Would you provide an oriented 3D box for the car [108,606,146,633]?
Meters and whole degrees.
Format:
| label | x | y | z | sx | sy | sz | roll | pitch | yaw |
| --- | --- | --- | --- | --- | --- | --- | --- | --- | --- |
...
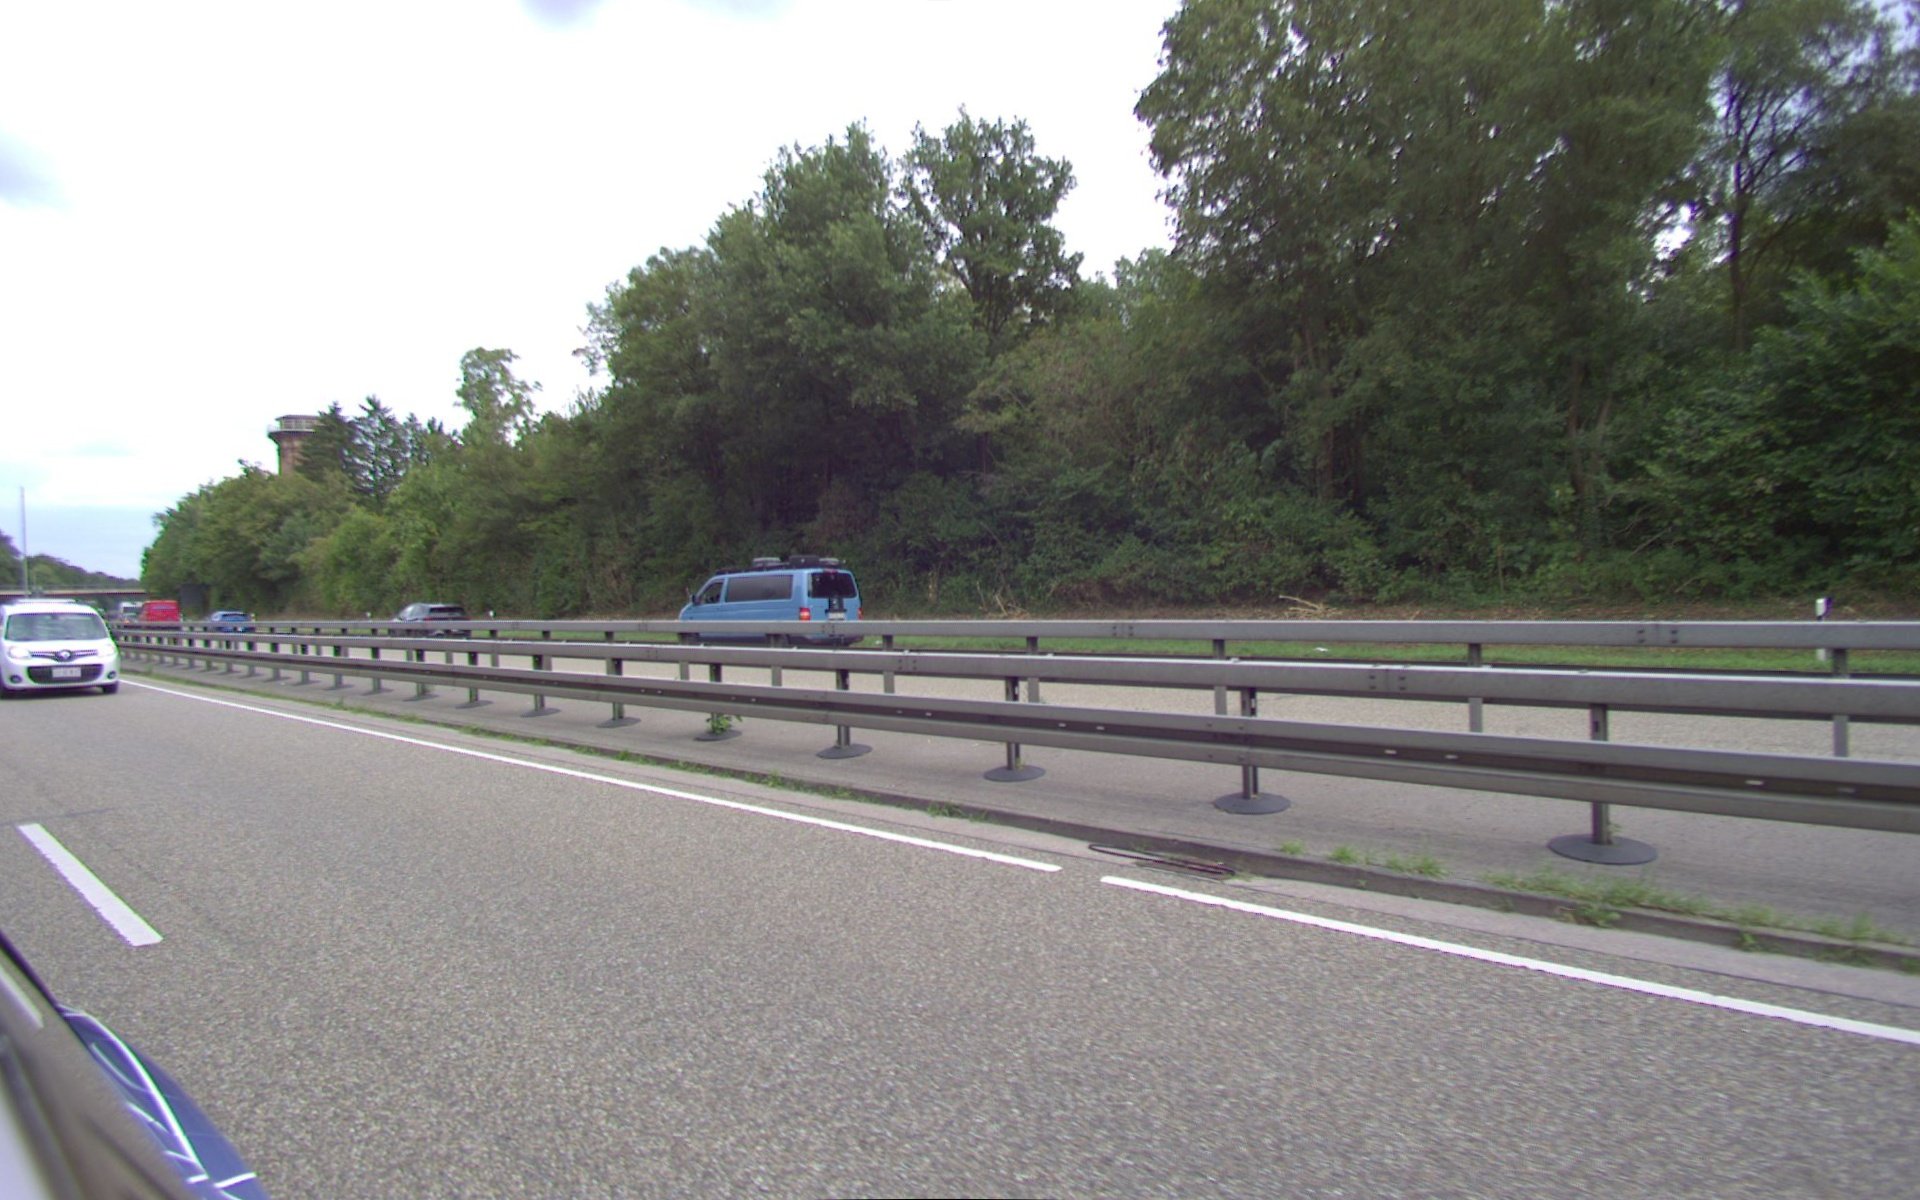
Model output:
| label | x | y | z | sx | sy | sz | roll | pitch | yaw |
| --- | --- | --- | --- | --- | --- | --- | --- | --- | --- |
| car | -83.280 | 1.966 | 101.152 | 5.553 | 2.631 | 2.286 | -1 | -1 | 43 |

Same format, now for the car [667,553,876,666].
| label | x | y | z | sx | sy | sz | roll | pitch | yaw |
| --- | --- | --- | --- | --- | --- | --- | --- | --- | --- |
| car | -4.460 | 0.246 | 23.389 | 5.303 | 2.339 | 1.915 | -1 | -1 | 42 |

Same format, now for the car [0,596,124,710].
| label | x | y | z | sx | sy | sz | roll | pitch | yaw |
| --- | --- | --- | --- | --- | --- | --- | --- | --- | --- |
| car | -18.205 | 0.982 | 20.115 | 4.422 | 2.020 | 1.798 | -1 | -1 | 42 |

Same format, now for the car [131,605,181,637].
| label | x | y | z | sx | sy | sz | roll | pitch | yaw |
| --- | --- | --- | --- | --- | --- | --- | --- | --- | --- |
| car | -59.992 | 1.576 | 75.498 | 5.373 | 2.273 | 2.044 | -1 | -1 | 42 |

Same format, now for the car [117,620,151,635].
| label | x | y | z | sx | sy | sz | roll | pitch | yaw |
| --- | --- | --- | --- | --- | --- | --- | --- | --- | --- |
| car | -73.544 | 2.471 | 90.115 | 4.107 | 1.306 | 1.755 | -1 | -1 | 43 |

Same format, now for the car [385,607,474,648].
| label | x | y | z | sx | sy | sz | roll | pitch | yaw |
| --- | --- | --- | --- | --- | --- | --- | --- | --- | --- |
| car | -20.005 | 1.022 | 38.095 | 4.088 | 1.478 | 1.676 | -1 | -1 | 42 |

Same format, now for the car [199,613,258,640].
| label | x | y | z | sx | sy | sz | roll | pitch | yaw |
| --- | --- | --- | --- | --- | --- | --- | --- | --- | --- |
| car | -43.439 | 1.537 | 60.038 | 4.504 | 1.521 | 1.972 | -1 | -1 | 42 |
